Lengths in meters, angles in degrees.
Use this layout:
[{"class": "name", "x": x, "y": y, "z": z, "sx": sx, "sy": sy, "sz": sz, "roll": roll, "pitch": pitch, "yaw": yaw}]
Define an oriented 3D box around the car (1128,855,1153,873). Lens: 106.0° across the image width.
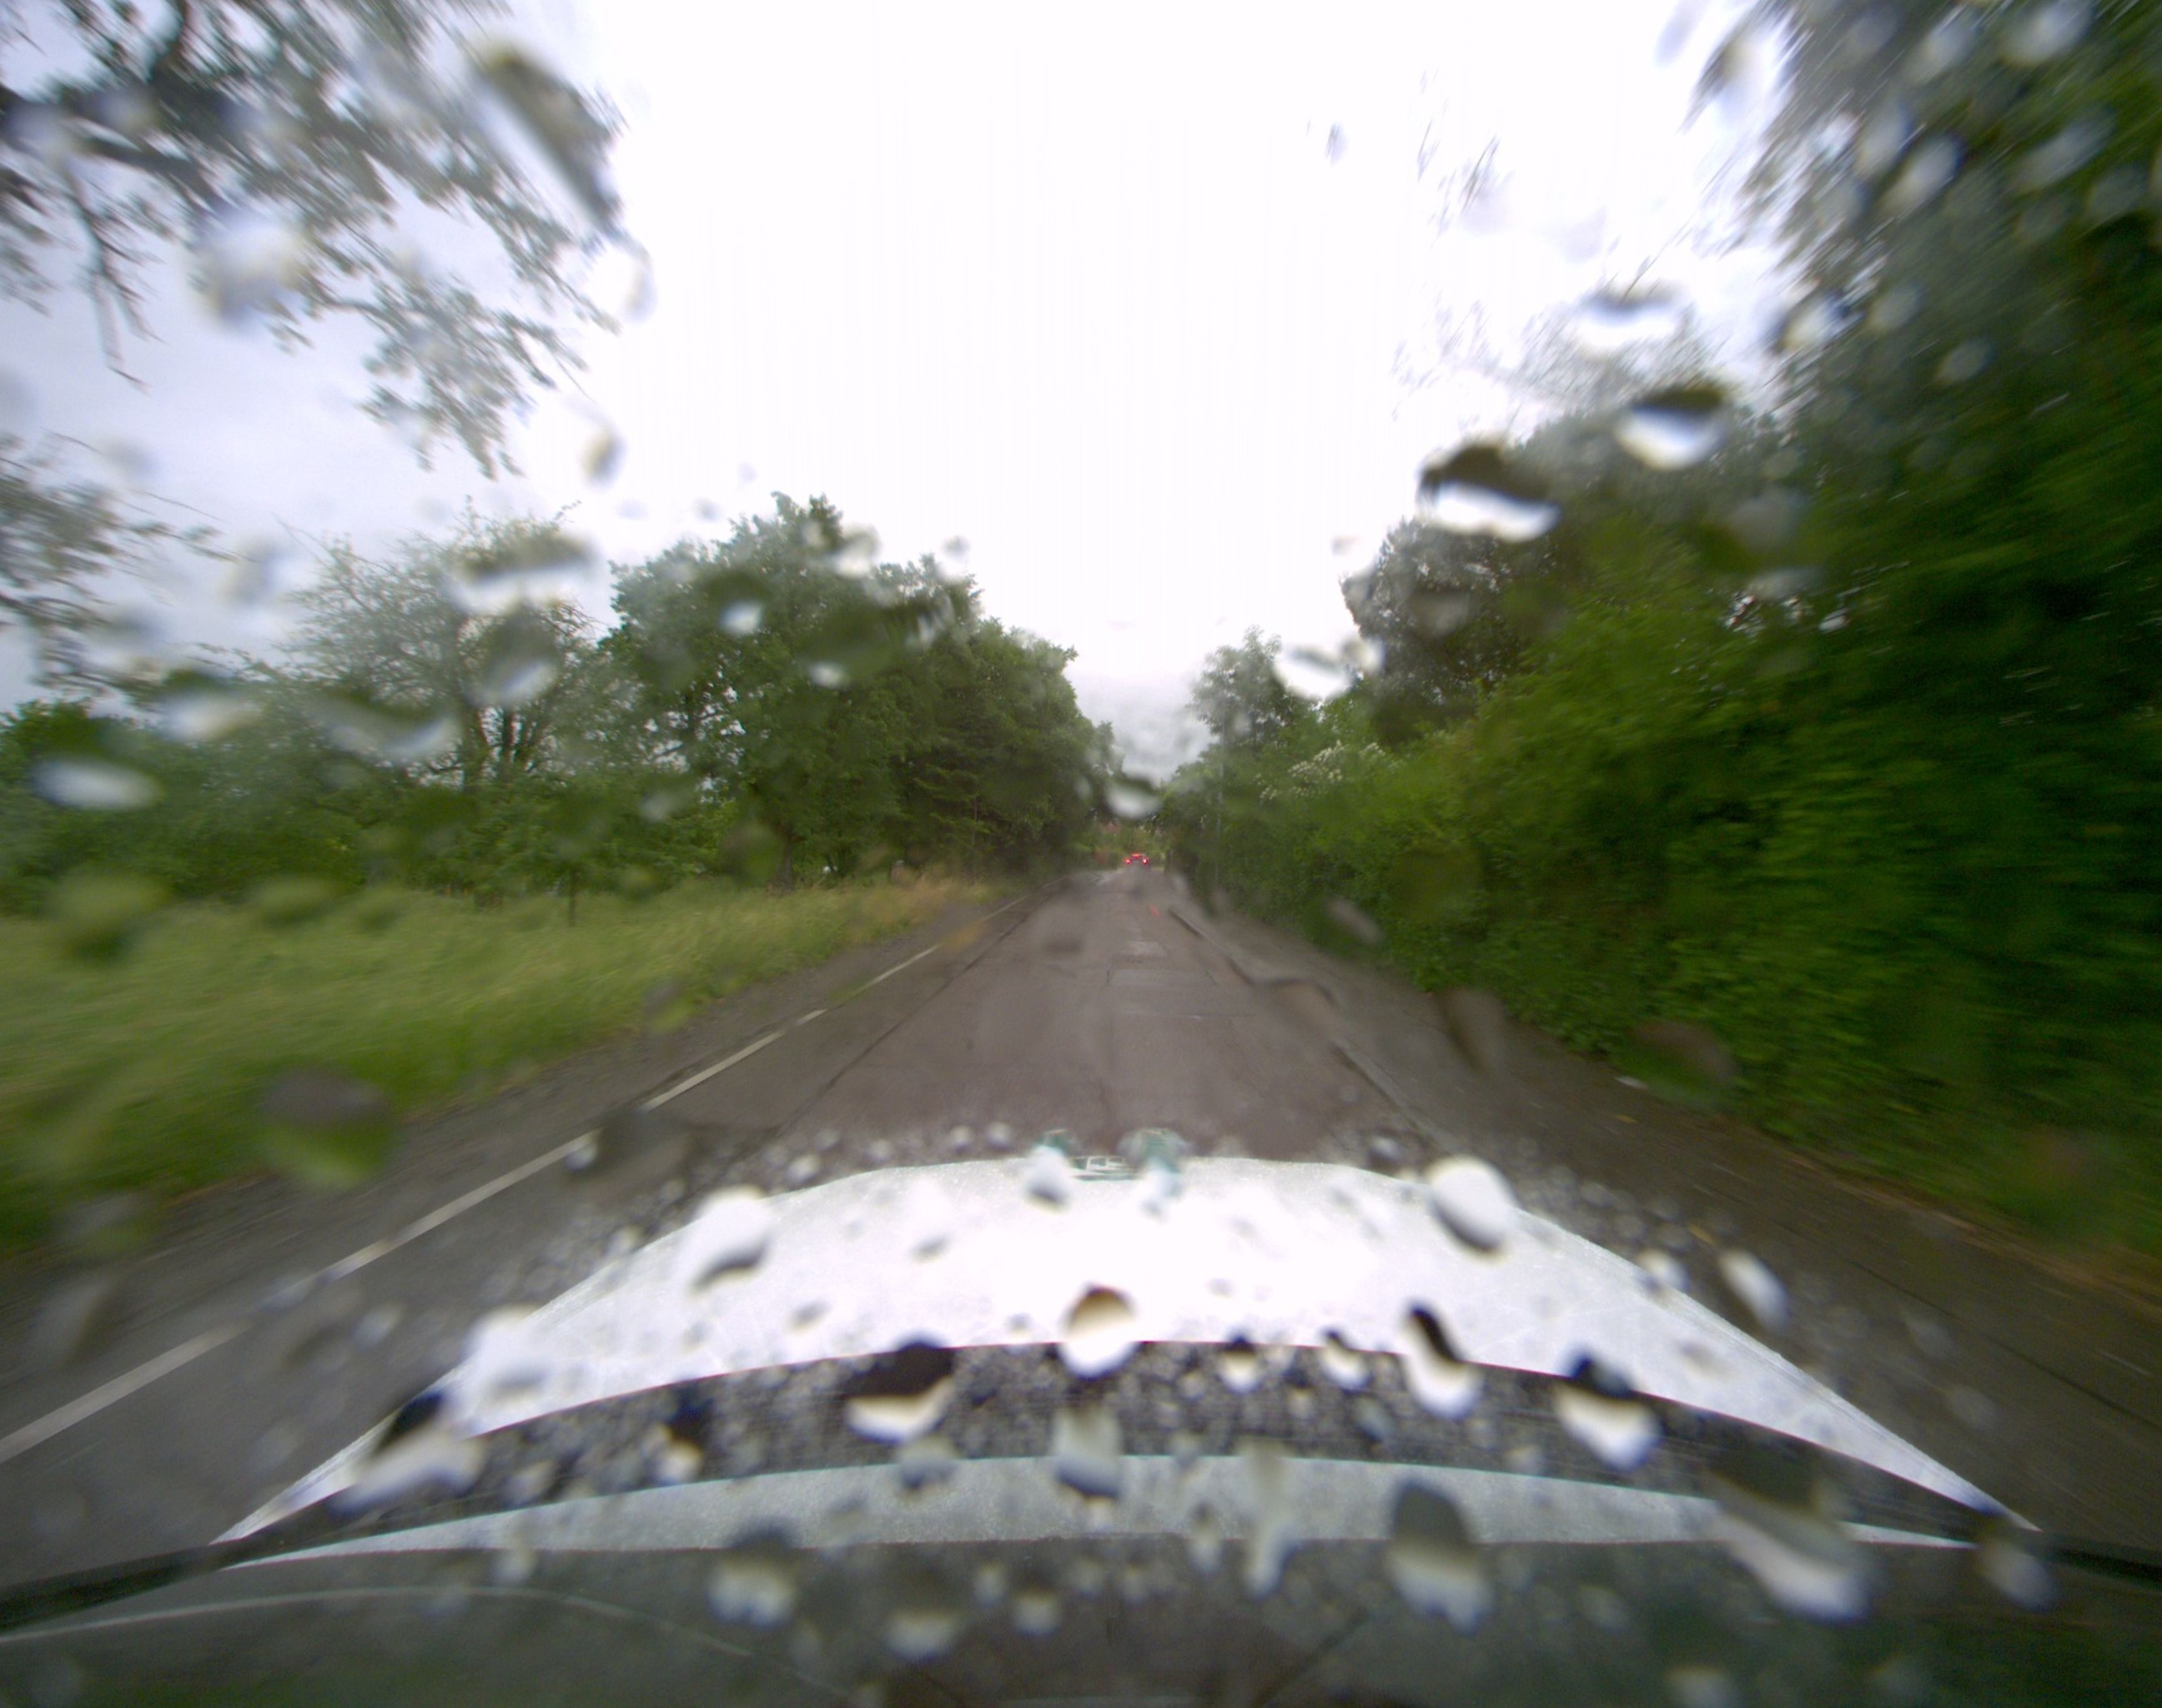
[{"class": "car", "x": 5.156, "y": 0.904, "z": 70.514, "sx": 1.624, "sy": 1.450, "sz": 3.555, "roll": 1, "pitch": -2, "yaw": 12}]
